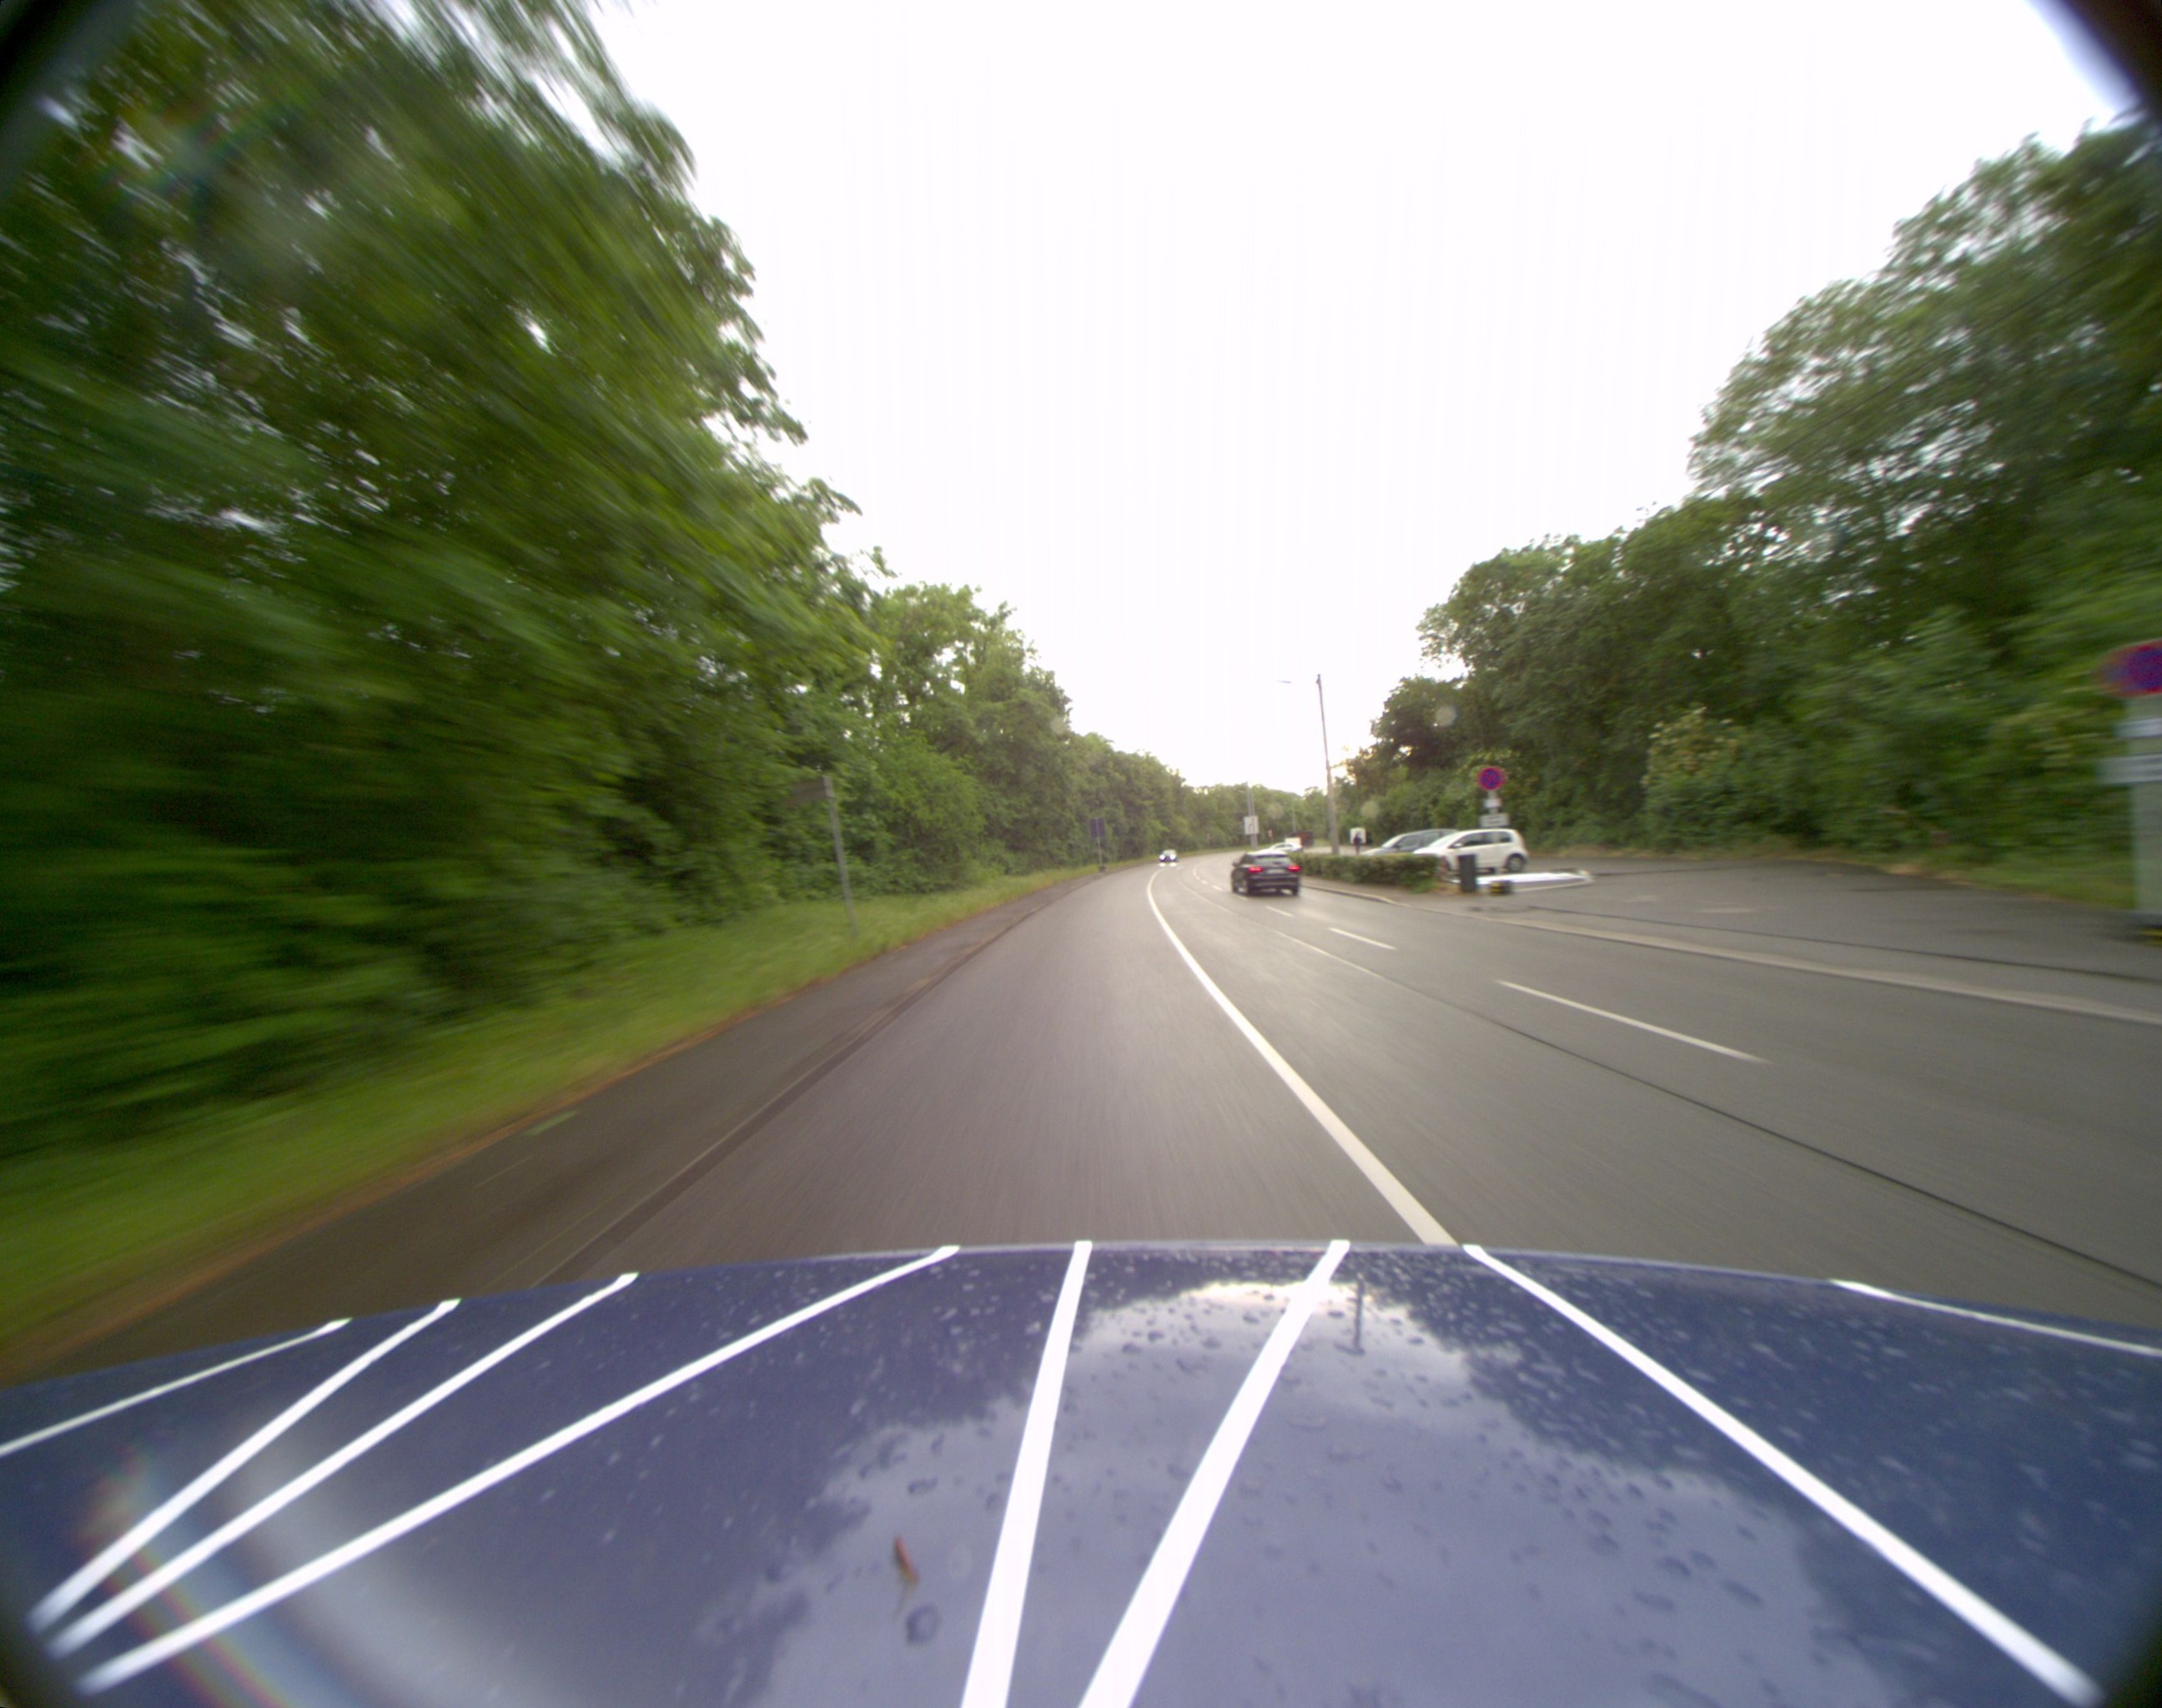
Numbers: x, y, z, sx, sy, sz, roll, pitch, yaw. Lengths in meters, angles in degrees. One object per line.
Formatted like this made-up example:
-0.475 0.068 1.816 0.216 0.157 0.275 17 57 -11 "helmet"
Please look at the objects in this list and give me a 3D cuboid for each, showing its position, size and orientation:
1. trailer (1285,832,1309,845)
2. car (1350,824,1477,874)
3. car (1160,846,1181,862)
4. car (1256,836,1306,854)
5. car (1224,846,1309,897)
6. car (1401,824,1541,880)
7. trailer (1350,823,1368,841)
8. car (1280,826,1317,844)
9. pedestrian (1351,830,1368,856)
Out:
38.735 -2.763 136.226 3.991 2.041 1.875 -2 1 21 "trailer"
13.480 -0.206 31.037 4.299 1.698 2.001 -4 1 9 "car"
10.417 0.001 88.139 1.997 1.674 4.003 -2 1 13 "car"
20.236 -0.889 76.930 4.584 1.497 2.001 -3 1 6 "car"
6.198 0.533 25.872 1.939 1.490 4.318 -3 0 3 "car"
12.941 -0.068 25.406 3.653 1.582 1.852 -4 1 3 "car"
46.626 -3.656 127.416 2.479 2.857 7.985 -2 1 18 "trailer"
40.437 -3.533 141.376 6.280 3.096 2.754 -3 2 18 "car"
19.967 -0.783 54.524 0.818 1.787 1.136 -3 1 8 "pedestrian"
